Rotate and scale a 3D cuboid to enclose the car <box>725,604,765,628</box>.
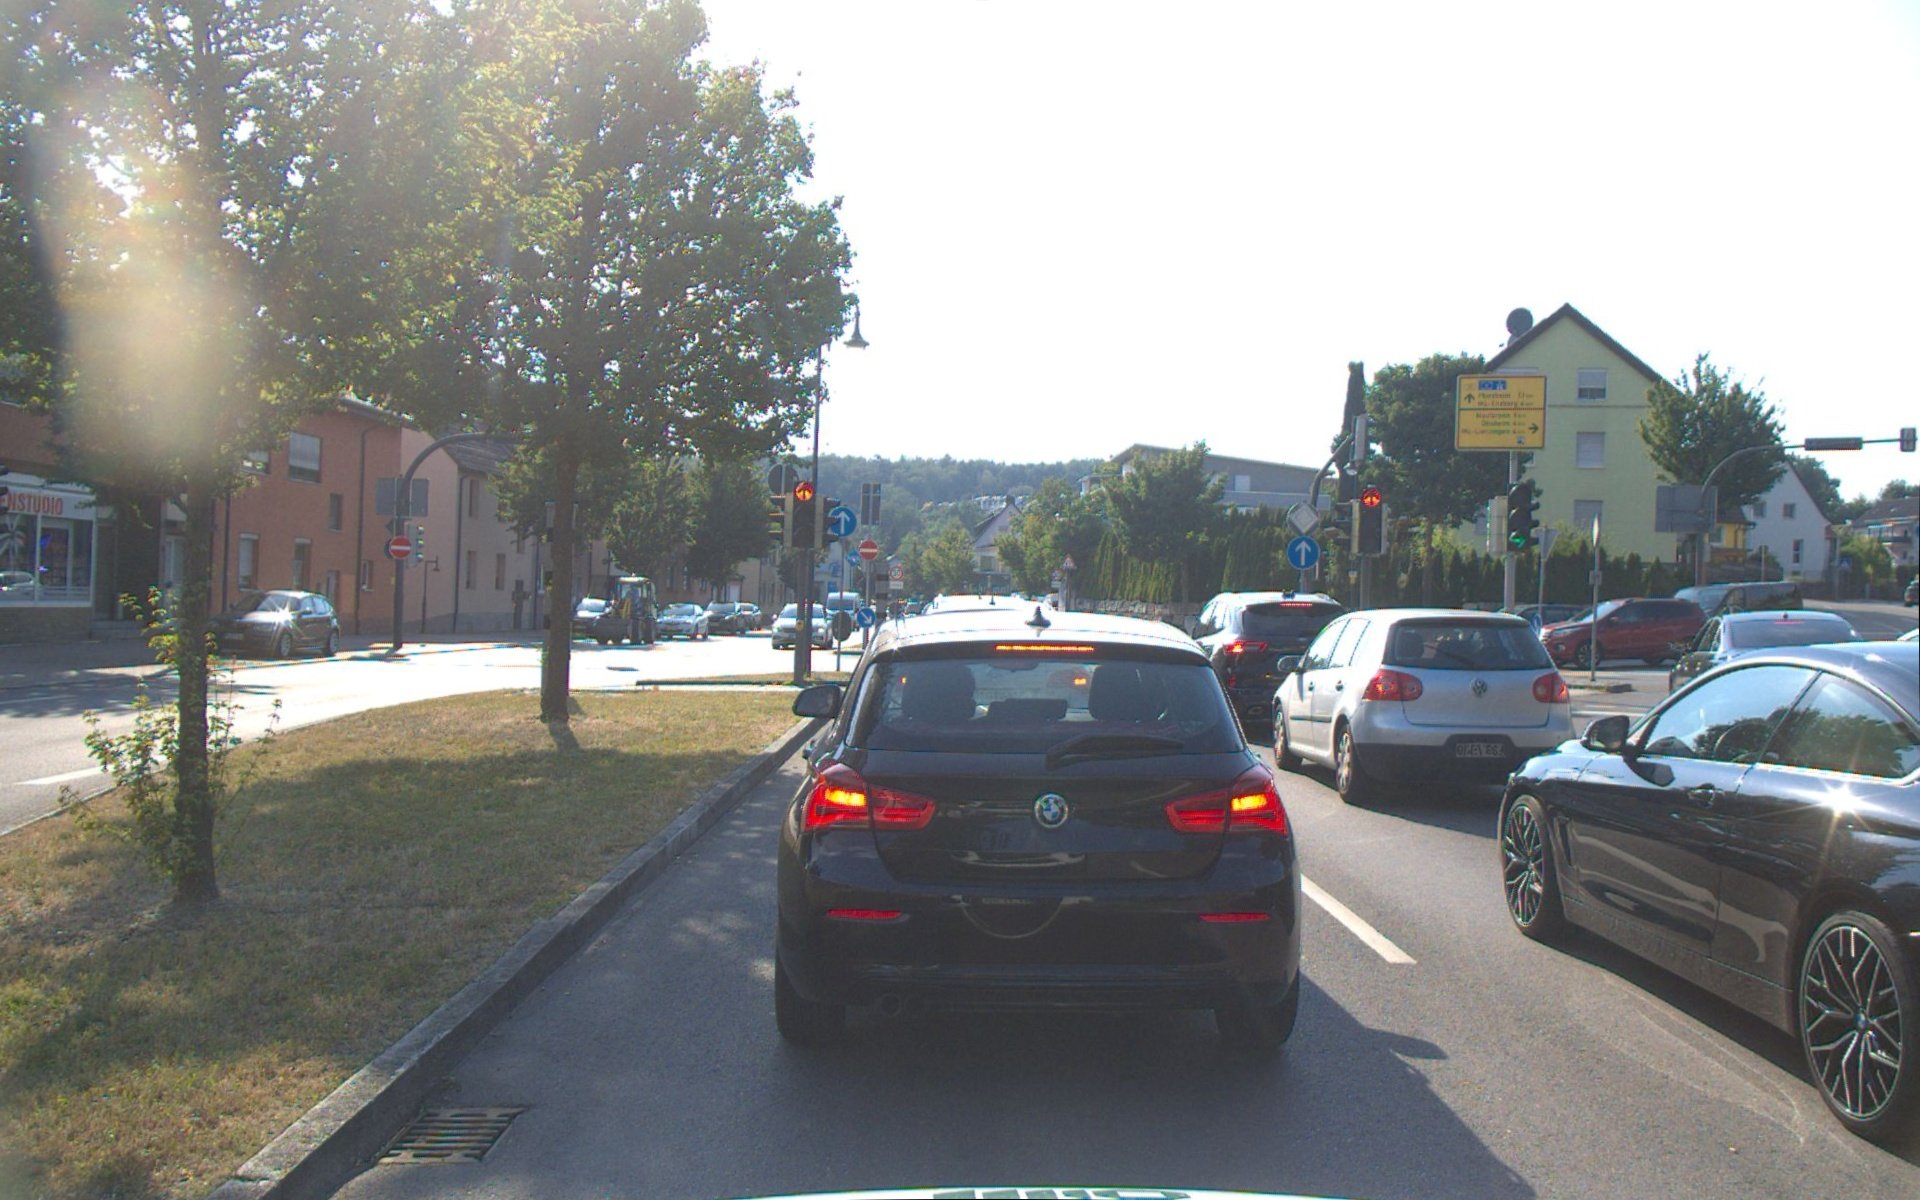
[{"bbox_3d":[-13.316,0.970,102.643,1.701,1.323,3.800,5,0,2],"label":"car"}]

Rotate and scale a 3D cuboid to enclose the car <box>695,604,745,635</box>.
[{"bbox_3d":[-11.963,0.951,82.624,1.701,1.323,3.800,5,0,2],"label":"car"}]

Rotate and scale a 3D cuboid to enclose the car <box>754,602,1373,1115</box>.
[{"bbox_3d":[0.291,0.735,6.850,1.751,1.422,4.280,-1,0,0],"label":"car"}]

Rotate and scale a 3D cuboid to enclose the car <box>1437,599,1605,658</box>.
[{"bbox_3d":[15.162,0.761,44.846,3.907,1.515,1.847,1,0,-3],"label":"car"}]

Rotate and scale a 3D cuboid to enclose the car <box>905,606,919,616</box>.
[{"bbox_3d":[-6.733,1.529,231.827,1.701,1.323,3.800,5,0,2],"label":"car"}]

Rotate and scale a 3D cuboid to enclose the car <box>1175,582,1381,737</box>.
[{"bbox_3d":[3.740,0.648,20.069,1.725,1.685,3.902,-1,0,0],"label":"car"}]

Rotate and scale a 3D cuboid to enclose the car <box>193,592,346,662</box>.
[{"bbox_3d":[-15.479,0.574,37.303,1.702,1.323,3.999,5,0,-1],"label":"car"}]

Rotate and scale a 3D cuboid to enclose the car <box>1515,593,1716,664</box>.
[{"bbox_3d":[16.318,0.688,41.267,4.333,1.670,1.845,1,0,-8],"label":"car"}]

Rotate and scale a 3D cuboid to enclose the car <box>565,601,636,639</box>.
[{"bbox_3d":[-14.506,0.804,66.917,1.701,1.323,4.001,5,0,3],"label":"car"}]

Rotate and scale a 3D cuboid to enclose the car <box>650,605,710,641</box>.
[{"bbox_3d":[-11.891,0.939,70.419,1.701,1.323,3.800,5,0,2],"label":"car"}]

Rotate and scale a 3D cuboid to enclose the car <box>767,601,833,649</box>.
[{"bbox_3d":[-5.315,0.802,55.418,1.801,1.508,4.000,1,0,0],"label":"car"}]

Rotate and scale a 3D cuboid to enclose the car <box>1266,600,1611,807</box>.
[{"bbox_3d":[3.787,0.740,13.786,1.725,1.451,3.902,-1,0,0],"label":"car"}]

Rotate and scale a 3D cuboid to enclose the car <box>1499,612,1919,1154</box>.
[{"bbox_3d":[3.466,0.785,5.830,1.725,1.422,4.280,-1,0,0],"label":"car"}]

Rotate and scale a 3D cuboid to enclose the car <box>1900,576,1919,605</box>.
[{"bbox_3d":[59.228,-0.578,101.859,1.931,1.709,4.199,0,0,35],"label":"car"}]

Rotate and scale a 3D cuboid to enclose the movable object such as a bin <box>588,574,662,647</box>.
[{"bbox_3d":[-11.923,0.372,59.110,1.701,2.485,4.449,0,0,0],"label":"movable object such as a bin"}]

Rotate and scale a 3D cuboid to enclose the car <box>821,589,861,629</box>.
[{"bbox_3d":[-7.658,0.592,106.792,2.041,2.435,5.529,1,0,1],"label":"car"}]

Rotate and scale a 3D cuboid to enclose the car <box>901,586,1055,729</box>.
[{"bbox_3d":[0.202,0.648,21.035,1.751,1.622,4.280,-1,0,0],"label":"car"}]

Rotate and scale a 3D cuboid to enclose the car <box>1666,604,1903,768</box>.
[{"bbox_3d":[9.040,0.851,18.472,1.621,1.569,4.401,-1,0,17],"label":"car"}]

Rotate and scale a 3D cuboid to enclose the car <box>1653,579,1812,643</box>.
[{"bbox_3d":[22.151,0.327,47.375,4.719,1.770,1.829,1,0,-31],"label":"car"}]

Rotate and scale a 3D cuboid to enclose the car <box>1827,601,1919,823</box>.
[{"bbox_3d":[7.616,0.798,11.639,1.583,1.569,3.320,-1,0,6],"label":"car"}]

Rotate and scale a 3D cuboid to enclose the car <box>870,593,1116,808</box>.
[{"bbox_3d":[0.232,0.715,13.995,1.751,1.520,4.280,-1,0,0],"label":"car"}]
